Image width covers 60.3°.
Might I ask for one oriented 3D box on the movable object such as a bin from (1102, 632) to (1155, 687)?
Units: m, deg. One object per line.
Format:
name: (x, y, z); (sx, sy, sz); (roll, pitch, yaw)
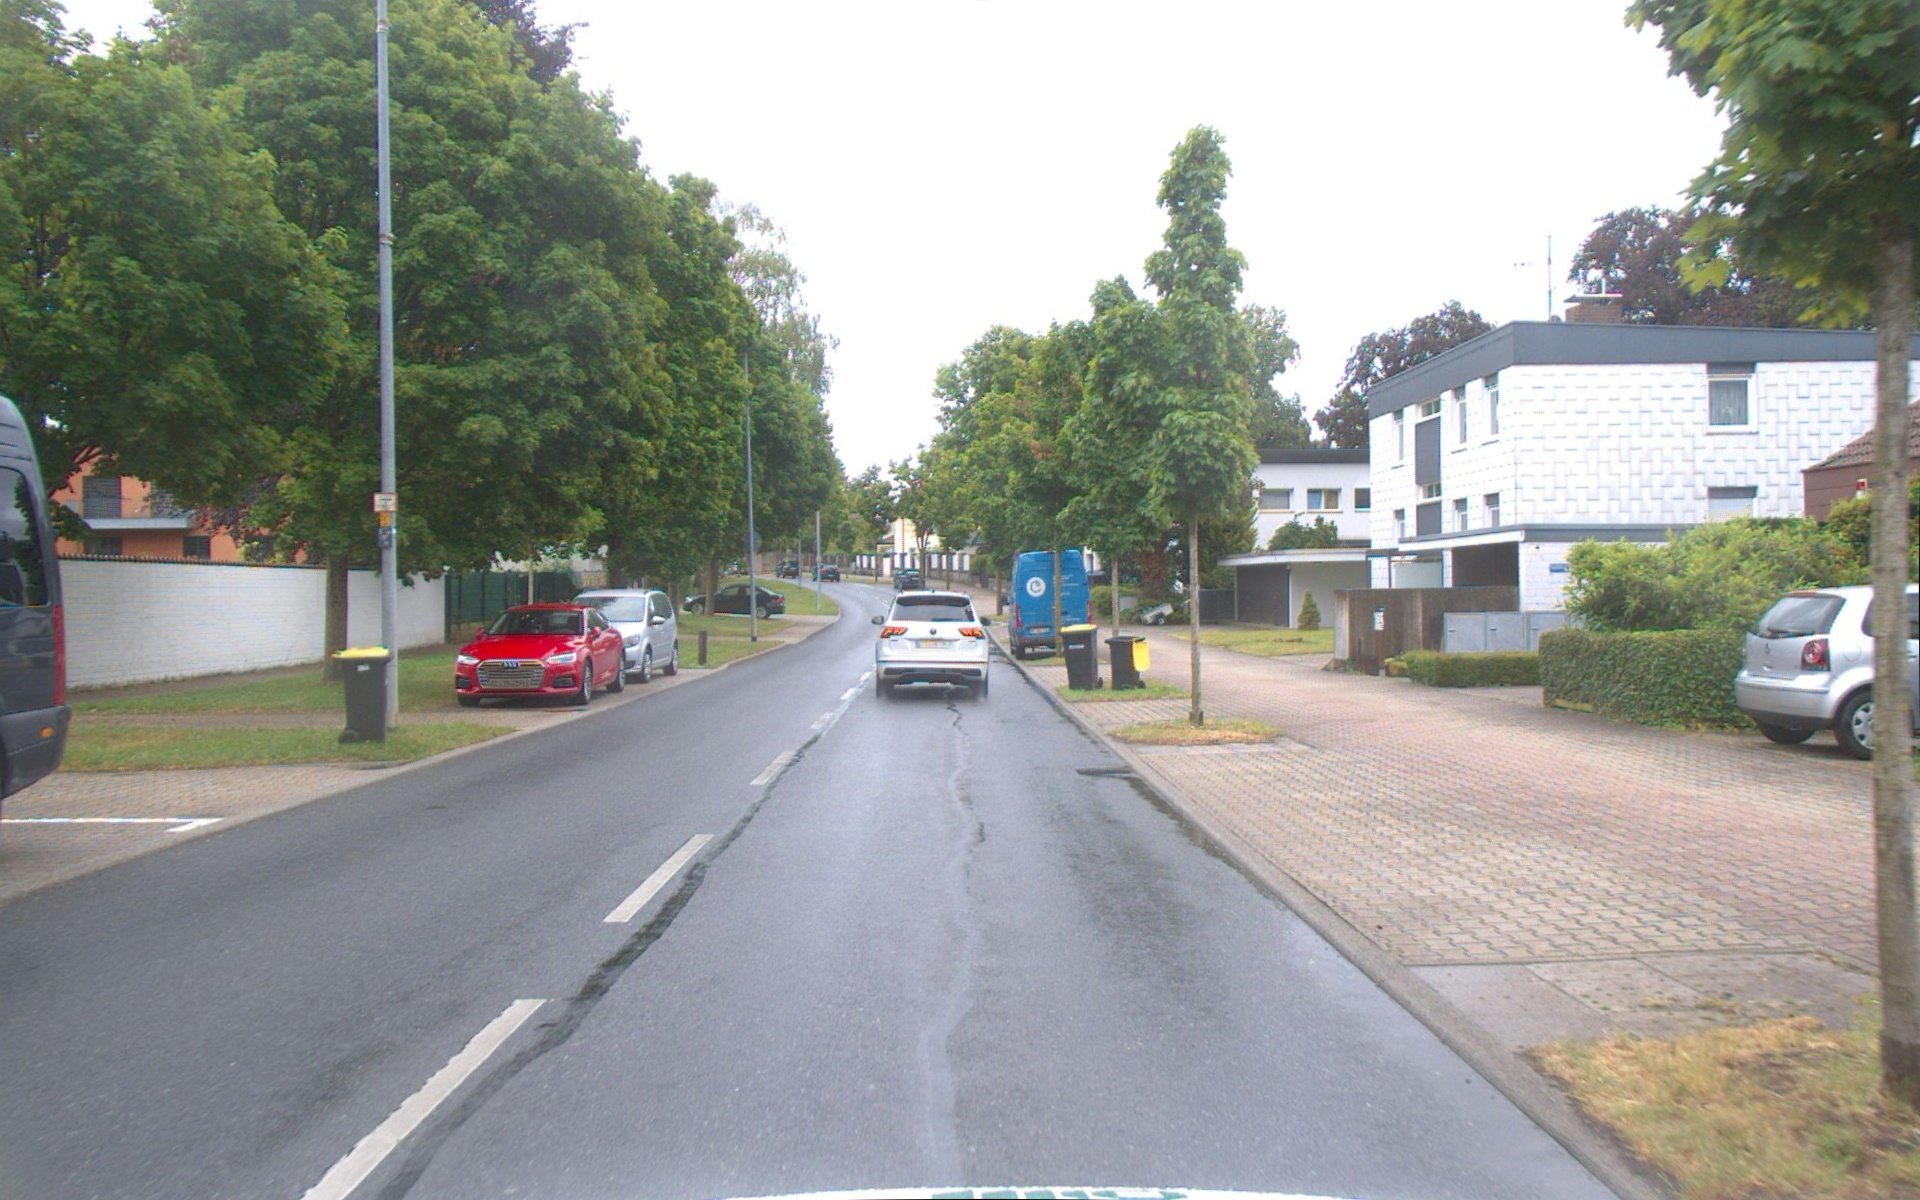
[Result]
movable object such as a bin: (2.691, 0.945, 26.378); (0.646, 0.814, 0.600); (-4, -1, 24)

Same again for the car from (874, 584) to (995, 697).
car: (-0.481, 0.614, 27.291); (1.828, 1.679, 3.998); (-1, 0, -3)

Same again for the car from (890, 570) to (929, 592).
car: (-3.587, -1.381, 117.537); (1.618, 1.452, 3.977); (1, 1, -20)

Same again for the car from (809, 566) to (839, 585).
car: (-11.098, -2.003, 135.053); (1.617, 1.452, 3.981); (1, 1, -18)

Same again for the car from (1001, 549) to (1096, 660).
car: (2.242, 0.093, 43.270); (1.953, 2.632, 5.632); (-2, 0, -1)

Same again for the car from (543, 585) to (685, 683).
car: (-6.263, 0.574, 30.366); (1.720, 1.656, 4.232); (0, 0, 0)

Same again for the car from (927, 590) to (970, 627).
car: (-0.533, 0.361, 72.452); (1.733, 1.578, 3.998); (0, 0, -3)

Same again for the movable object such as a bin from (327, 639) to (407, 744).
movable object such as a bin: (-5.679, 0.872, 15.860); (0.546, 0.970, 0.550); (0, 0, 2)

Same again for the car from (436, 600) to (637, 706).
car: (-6.206, 0.719, 24.800); (1.953, 1.428, 4.555); (0, 0, -2)

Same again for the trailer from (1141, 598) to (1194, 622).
trailer: (8.309, 0.394, 66.298); (2.000, 0.899, 1.365); (1, 0, 2)

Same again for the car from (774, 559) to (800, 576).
car: (-15.693, -2.917, 149.793); (1.617, 1.452, 3.981); (1, 1, -18)

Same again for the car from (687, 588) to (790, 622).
car: (-9.576, 0.192, 71.731); (4.130, 1.386, 1.691); (1, 0, 3)

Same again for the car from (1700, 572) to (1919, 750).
car: (8.947, 0.498, 14.699); (3.906, 1.467, 1.847); (-1, 0, -1)

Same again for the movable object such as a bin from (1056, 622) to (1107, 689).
movable object such as a bin: (1.980, 0.899, 26.983); (0.602, 1.032, 0.562); (-5, -2, 24)

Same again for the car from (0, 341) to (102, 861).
car: (-6.080, 0.007, 6.868); (1.953, 2.776, 5.937); (1, 0, -1)
